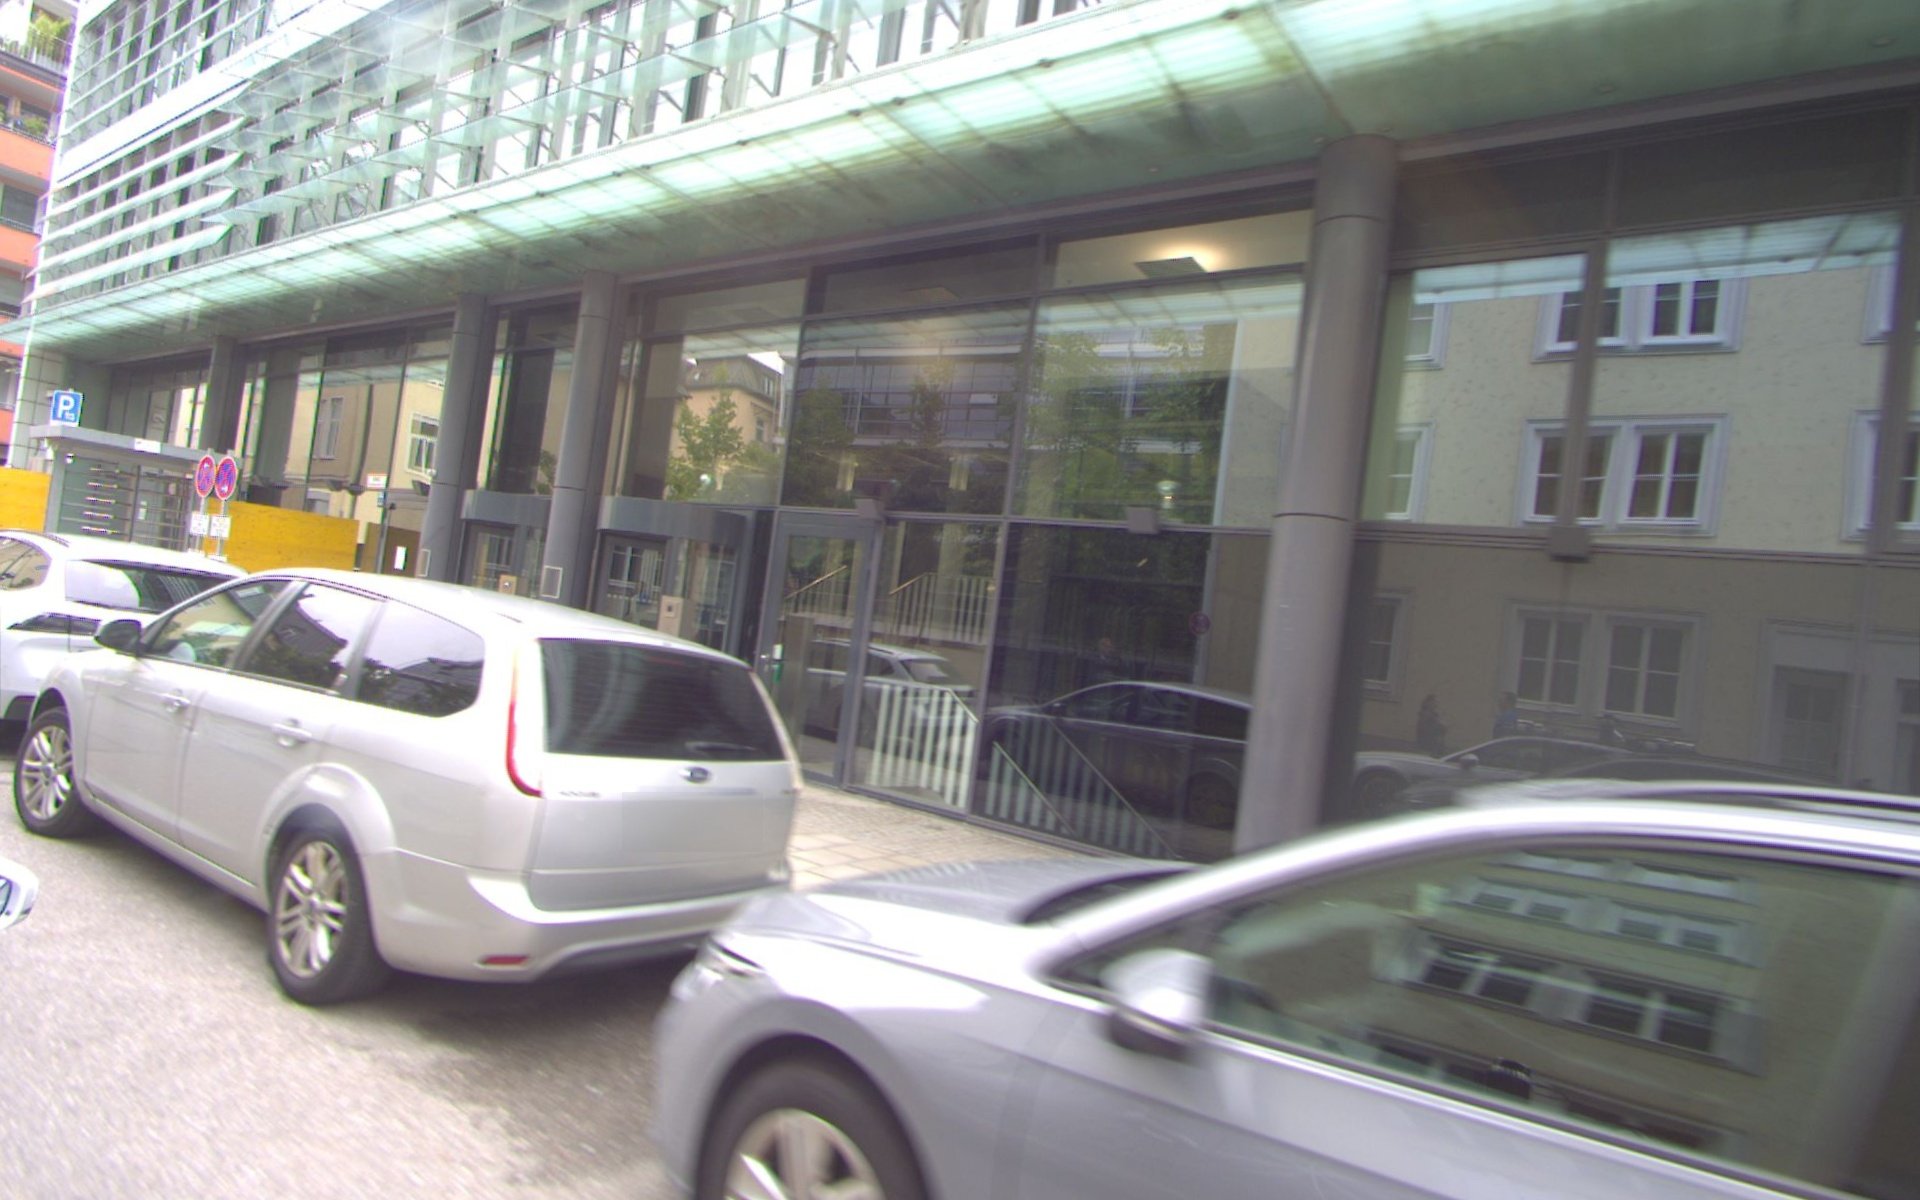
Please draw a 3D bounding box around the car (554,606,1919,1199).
[{"bbox_3d":[1.365,1.015,1.799,4.261,1.448,1.711,6,-3,35],"label":"car"}]

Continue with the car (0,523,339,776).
[{"bbox_3d":[-6.800,0.228,7.707,4.439,1.428,1.712,6,-5,35],"label":"car"}]

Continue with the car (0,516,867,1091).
[{"bbox_3d":[-2.701,0.607,4.748,4.167,1.483,1.712,6,-4,32],"label":"car"}]
